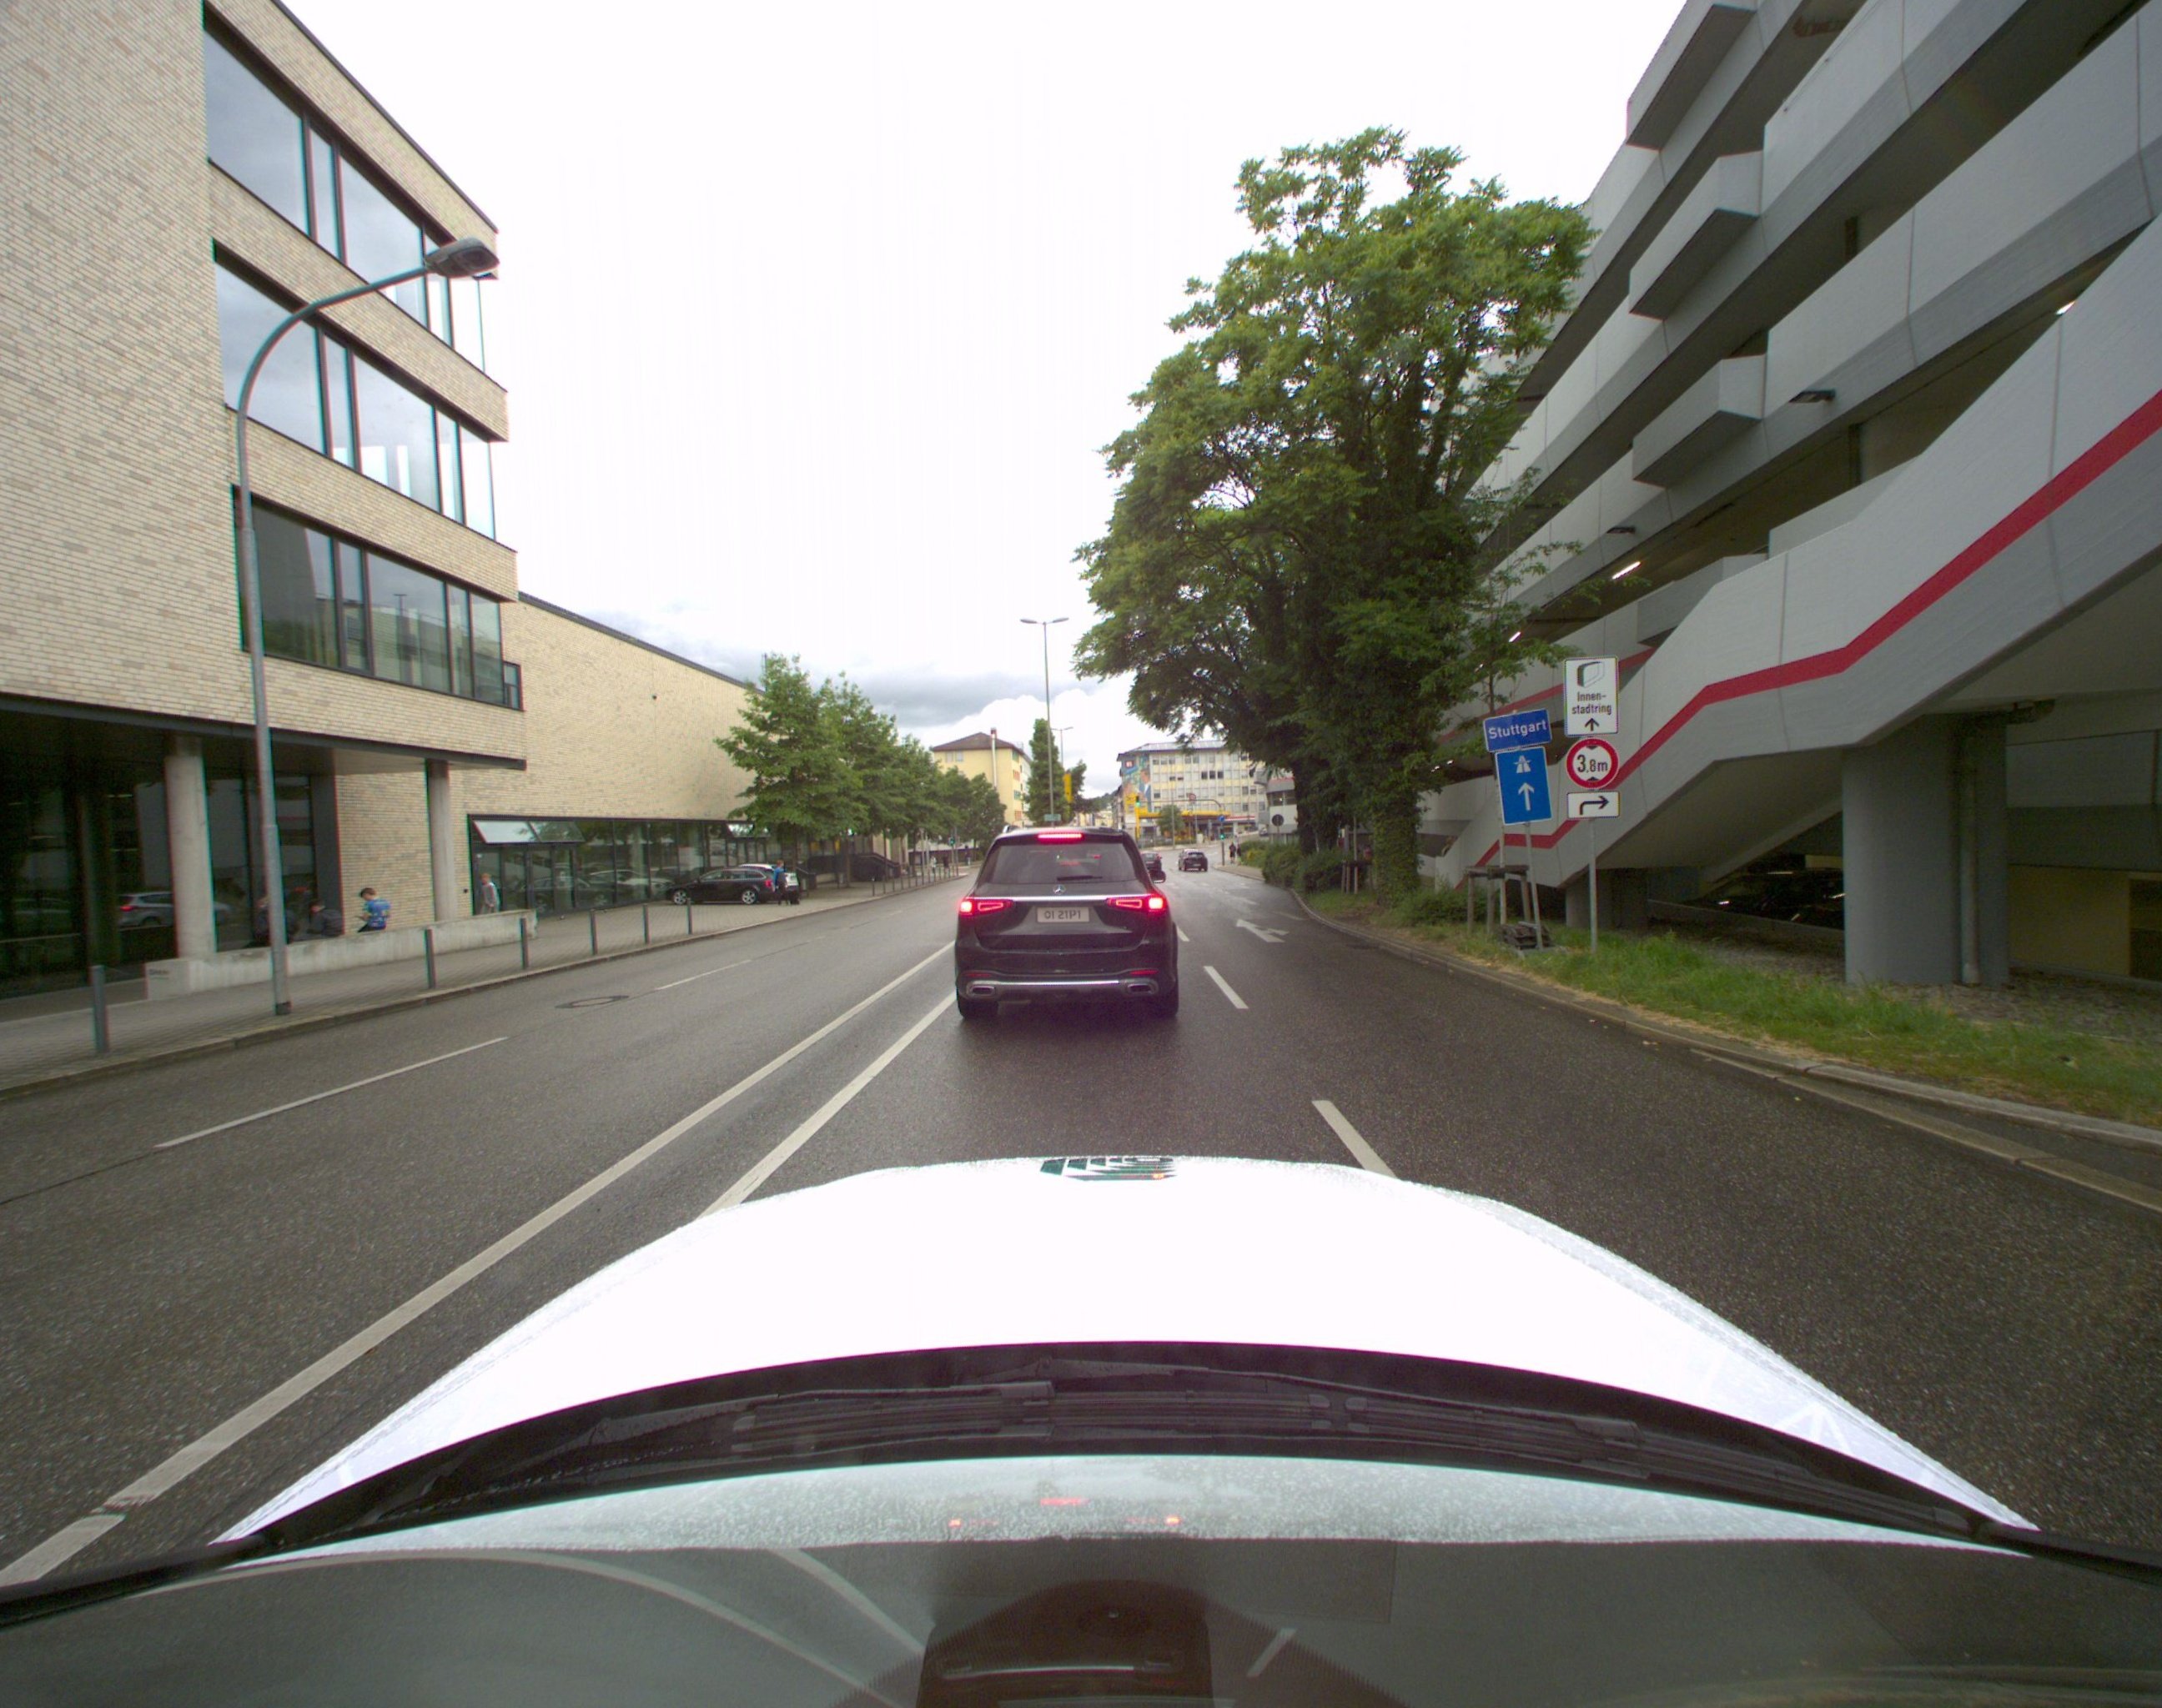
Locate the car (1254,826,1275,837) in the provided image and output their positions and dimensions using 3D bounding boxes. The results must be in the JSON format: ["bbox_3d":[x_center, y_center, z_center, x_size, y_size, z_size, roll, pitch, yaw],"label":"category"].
[{"bbox_3d":[31.064,-3.792,137.783,1.974,1.705,4.026,-2,1,35],"label":"car"}]

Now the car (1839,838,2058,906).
[{"bbox_3d":[24.793,0.505,23.443,3.958,1.783,1.823,-2,0,14],"label":"car"}]

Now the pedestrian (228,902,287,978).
[{"bbox_3d":[-13.583,1.406,13.441,0.546,1.215,0.422,0,-1,4],"label":"pedestrian"}]

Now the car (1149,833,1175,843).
[{"bbox_3d":[12.769,-2.504,128.477,1.747,1.376,3.952,-4,1,-42],"label":"car"}]

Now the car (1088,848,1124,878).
[{"bbox_3d":[1.368,0.485,44.377,1.900,1.586,4.001,0,-1,2],"label":"car"}]

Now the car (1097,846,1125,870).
[{"bbox_3d":[2.083,0.287,57.001,1.900,1.586,4.001,0,-1,2],"label":"car"}]

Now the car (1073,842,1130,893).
[{"bbox_3d":[0.788,0.504,30.795,1.986,1.800,4.001,0,-1,2],"label":"car"}]

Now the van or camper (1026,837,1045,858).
[{"bbox_3d":[-6.072,-0.806,108.381,2.096,2.582,5.905,-4,0,-1],"label":"van or camper"}]

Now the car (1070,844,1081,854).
[{"bbox_3d":[-0.998,-0.891,144.091,1.900,1.703,3.998,0,-1,-1],"label":"car"}]

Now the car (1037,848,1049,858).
[{"bbox_3d":[-5.748,-0.139,123.334,1.792,1.495,3.802,0,-1,-1],"label":"car"}]

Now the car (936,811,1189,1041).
[{"bbox_3d":[-0.084,0.583,8.431,1.986,1.800,4.001,0,-1,2],"label":"car"}]

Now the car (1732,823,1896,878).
[{"bbox_3d":[26.223,-0.117,29.279,3.958,1.783,1.823,-2,0,14],"label":"car"}]

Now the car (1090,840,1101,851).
[{"bbox_3d":[2.737,-1.548,150.791,1.985,2.014,4.003,0,-1,3],"label":"car"}]

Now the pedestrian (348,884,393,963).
[{"bbox_3d":[-13.617,1.315,15.610,0.448,1.475,0.463,0,-1,-4],"label":"pedestrian"}]

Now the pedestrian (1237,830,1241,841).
[{"bbox_3d":[26.455,-3.106,136.318,0.521,1.727,0.693,-2,1,28],"label":"pedestrian"}]

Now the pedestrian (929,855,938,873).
[{"bbox_3d":[-13.792,0.928,76.138,0.641,1.665,1.017,0,-1,-4],"label":"pedestrian"}]

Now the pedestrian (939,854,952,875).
[{"bbox_3d":[-10.933,0.871,65.876,0.948,1.704,0.709,0,-1,-16],"label":"pedestrian"}]

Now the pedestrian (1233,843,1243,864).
[{"bbox_3d":[12.585,-0.041,65.149,0.639,1.710,0.474,-2,-1,38],"label":"pedestrian"}]

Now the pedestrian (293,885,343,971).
[{"bbox_3d":[-13.532,1.305,14.446,0.448,1.475,0.463,0,-1,-4],"label":"pedestrian"}]

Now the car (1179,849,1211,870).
[{"bbox_3d":[8.225,0.385,58.927,1.938,1.486,4.002,0,-1,2],"label":"car"}]

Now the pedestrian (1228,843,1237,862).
[{"bbox_3d":[13.174,-0.124,70.834,0.716,1.690,0.455,0,-1,-5],"label":"pedestrian"}]

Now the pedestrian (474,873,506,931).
[{"bbox_3d":[-15.350,1.245,21.150,0.440,1.475,0.528,0,-1,-3],"label":"pedestrian"}]

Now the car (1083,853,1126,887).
[{"bbox_3d":[1.097,0.708,37.822,1.900,1.501,4.001,0,-1,2],"label":"car"}]

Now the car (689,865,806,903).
[{"bbox_3d":[-14.290,1.275,35.049,4.158,1.547,2.002,0,-1,3],"label":"car"}]

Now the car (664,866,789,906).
[{"bbox_3d":[-14.155,1.255,32.727,4.169,1.495,1.997,0,-1,-5],"label":"car"}]

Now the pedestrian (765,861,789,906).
[{"bbox_3d":[-11.540,1.109,30.938,0.632,1.714,0.705,0,-1,4],"label":"pedestrian"}]

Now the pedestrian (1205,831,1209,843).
[{"bbox_3d":[18.572,-2.536,120.029,0.570,1.697,0.631,0,-1,3],"label":"pedestrian"}]

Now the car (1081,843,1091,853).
[{"bbox_3d":[1.199,-1.317,177.979,1.985,2.014,4.003,0,-1,3],"label":"car"}]

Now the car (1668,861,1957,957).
[{"bbox_3d":[13.692,1.009,15.469,3.713,1.540,1.815,-1,3,7],"label":"car"}]

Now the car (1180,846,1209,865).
[{"bbox_3d":[9.703,0.159,69.518,1.740,1.549,4.019,-1,-1,19],"label":"car"}]

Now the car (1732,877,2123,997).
[{"bbox_3d":[12.938,1.238,12.708,3.966,1.624,1.842,-1,0,6],"label":"car"}]

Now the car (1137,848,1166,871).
[{"bbox_3d":[4.909,0.376,57.098,1.789,1.525,4.058,0,1,2],"label":"car"}]
